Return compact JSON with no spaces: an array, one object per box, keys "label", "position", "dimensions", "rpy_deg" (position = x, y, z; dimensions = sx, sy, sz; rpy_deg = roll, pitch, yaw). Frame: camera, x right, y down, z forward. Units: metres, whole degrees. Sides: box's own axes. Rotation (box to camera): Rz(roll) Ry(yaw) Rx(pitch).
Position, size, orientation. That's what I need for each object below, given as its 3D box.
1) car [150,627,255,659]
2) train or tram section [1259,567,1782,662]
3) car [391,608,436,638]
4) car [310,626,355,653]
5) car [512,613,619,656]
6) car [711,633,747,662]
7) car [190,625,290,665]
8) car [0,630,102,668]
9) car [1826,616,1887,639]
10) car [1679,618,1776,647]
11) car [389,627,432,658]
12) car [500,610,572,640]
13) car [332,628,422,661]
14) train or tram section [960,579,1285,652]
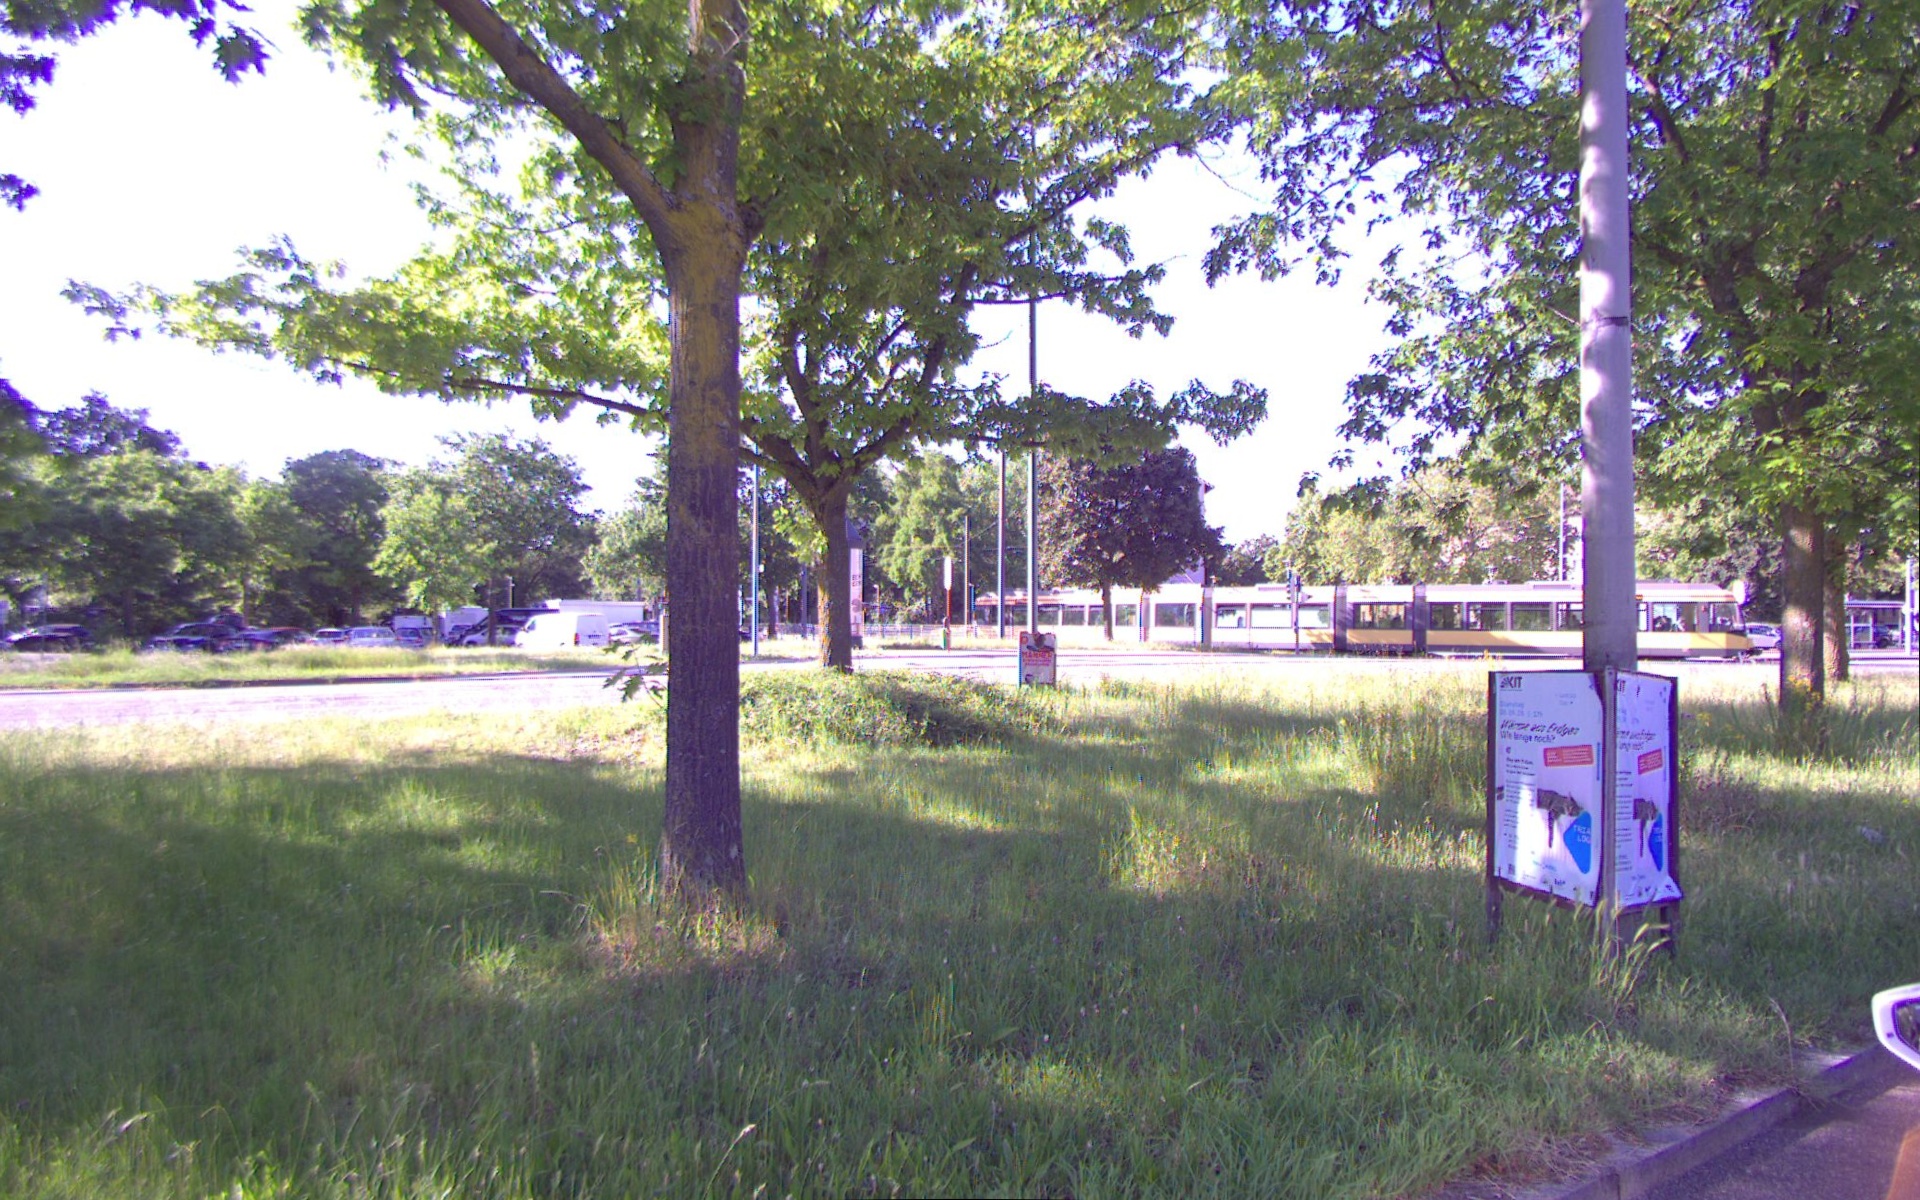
[{"label":"car","position":[-26.845,1.500,35.626],"dimensions":[1.315,1.078,2.777],"rpy_deg":[-1,-1,42]},{"label":"train or tram section","position":[24.615,0.645,46.412],"dimensions":[20.419,3.820,3.303],"rpy_deg":[0,-1,26]},{"label":"car","position":[-32.491,1.362,59.783],"dimensions":[1.865,1.691,3.733],"rpy_deg":[1,-1,-22]},{"label":"car","position":[-29.297,1.821,46.862],"dimensions":[1.603,1.194,3.047],"rpy_deg":[1,-1,-35]},{"label":"car","position":[-17.221,1.471,43.798],"dimensions":[4.670,1.762,2.024],"rpy_deg":[0,-1,34]},{"label":"car","position":[-12.034,2.451,52.485],"dimensions":[1.589,1.438,3.073],"rpy_deg":[0,-1,-8]},{"label":"car","position":[-25.236,1.560,35.241],"dimensions":[2.769,1.323,1.326],"rpy_deg":[1,-1,-40]},{"label":"car","position":[-47.413,2.498,52.115],"dimensions":[1.966,1.817,3.990],"rpy_deg":[0,-1,32]},{"label":"car","position":[82.116,2.538,92.112],"dimensions":[3.933,2.040,1.994],"rpy_deg":[0,-1,35]},{"label":"car","position":[46.904,1.964,61.464],"dimensions":[4.233,1.706,2.001],"rpy_deg":[0,-1,9]},{"label":"car","position":[-26.704,2.025,48.776],"dimensions":[1.602,1.438,3.050],"rpy_deg":[1,-1,-33]},{"label":"car","position":[-24.133,1.410,57.286],"dimensions":[3.698,1.691,1.883],"rpy_deg":[1,-1,-23]},{"label":"car","position":[-21.829,1.630,37.631],"dimensions":[2.769,1.171,1.326],"rpy_deg":[1,-1,-40]},{"label":"train or tram section","position":[8.380,0.844,56.581],"dimensions":[19.088,3.559,3.292],"rpy_deg":[-1,-1,39]}]
